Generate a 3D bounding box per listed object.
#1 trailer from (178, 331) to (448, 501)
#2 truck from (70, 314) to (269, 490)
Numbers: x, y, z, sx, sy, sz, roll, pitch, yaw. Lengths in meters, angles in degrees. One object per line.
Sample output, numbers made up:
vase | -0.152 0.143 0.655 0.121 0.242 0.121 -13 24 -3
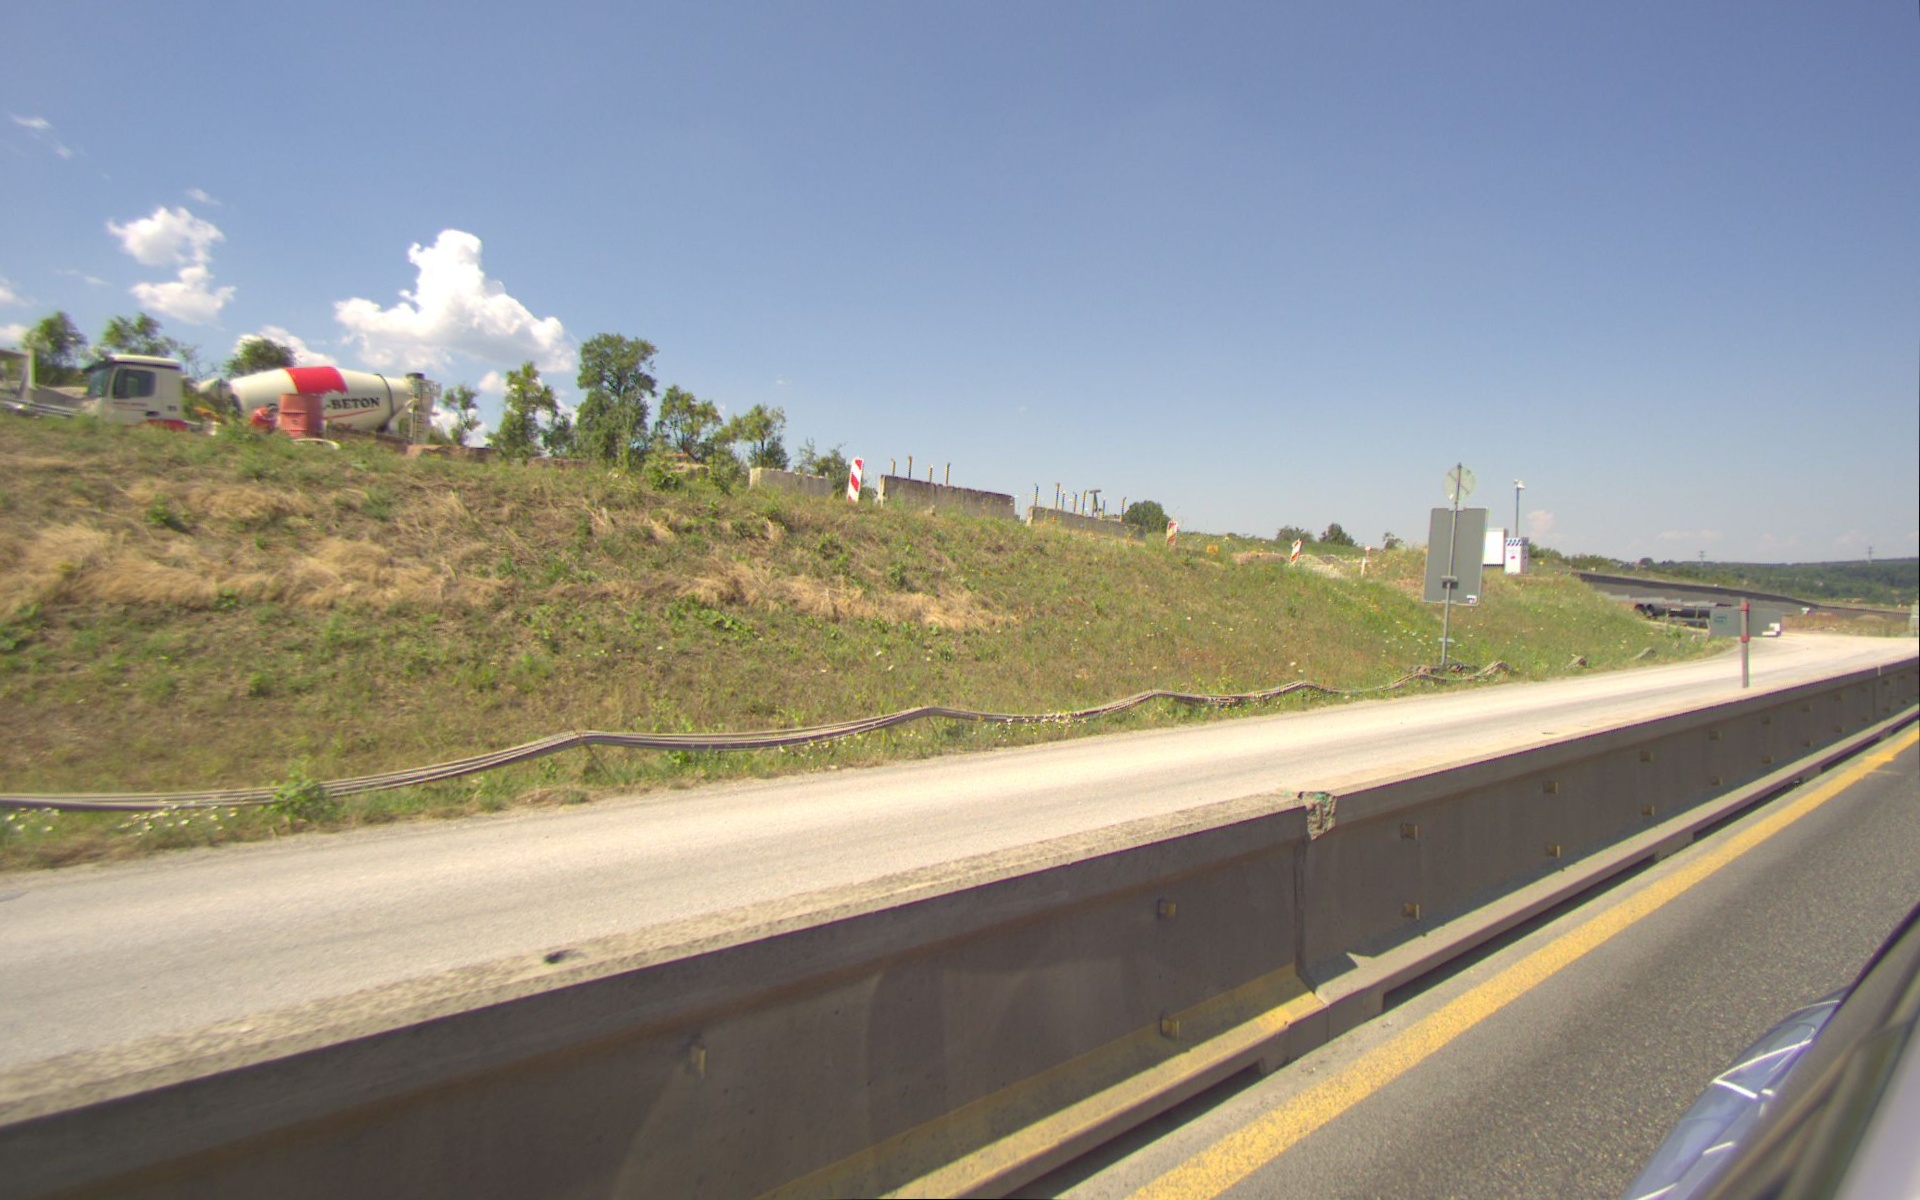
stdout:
trailer | -20.056 -5.466 31.705 2.754 4.166 6.645 1 1 41
truck | -22.502 -5.427 28.880 2.743 4.147 4.039 1 1 41
